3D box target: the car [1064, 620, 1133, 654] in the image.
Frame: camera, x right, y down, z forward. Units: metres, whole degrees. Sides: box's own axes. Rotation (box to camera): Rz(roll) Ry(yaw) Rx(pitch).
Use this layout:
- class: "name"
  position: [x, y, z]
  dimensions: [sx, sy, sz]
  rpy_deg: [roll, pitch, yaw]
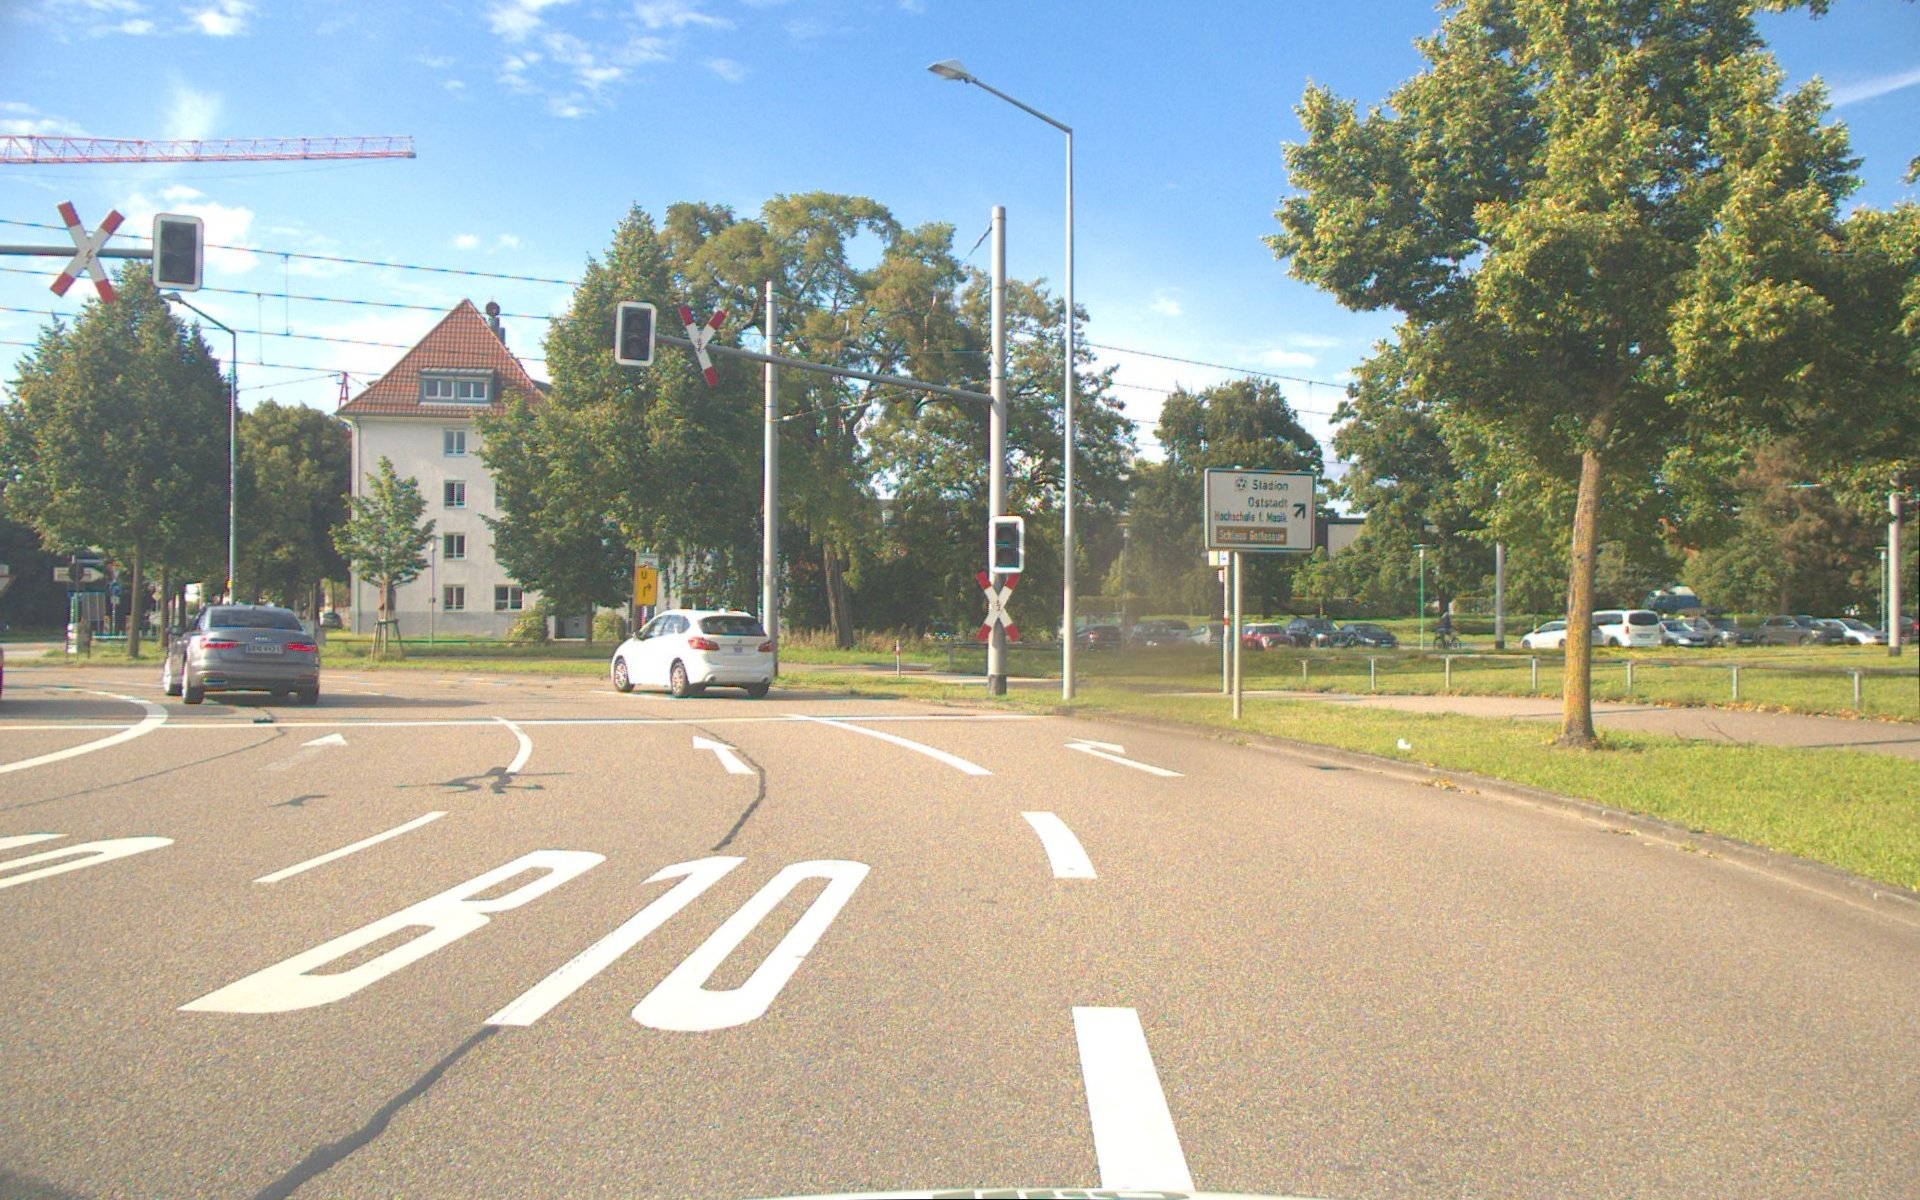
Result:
- class: "car"
  position: [5.806, 1.547, 70.061]
  dimensions: [1.821, 1.383, 4.722]
  rpy_deg: [0, -1, -9]

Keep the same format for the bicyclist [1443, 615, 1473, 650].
- class: "bicyclist"
  position: [19.751, 1.269, 65.616]
  dimensions: [0.997, 1.379, 0.703]
  rpy_deg: [0, -1, -41]

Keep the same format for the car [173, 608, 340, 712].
- class: "car"
  position: [-11.002, 0.895, 25.678]
  dimensions: [1.831, 1.470, 4.667]
  rpy_deg: [2, -2, -30]

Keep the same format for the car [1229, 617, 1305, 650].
- class: "car"
  position: [13.294, 1.457, 71.874]
  dimensions: [1.821, 1.386, 4.459]
  rpy_deg: [0, -1, -9]

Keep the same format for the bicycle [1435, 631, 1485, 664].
- class: "bicycle"
  position: [19.858, 1.874, 65.653]
  dimensions: [2.506, 1.244, 0.703]
  rpy_deg: [0, -1, -42]

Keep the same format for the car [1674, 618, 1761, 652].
- class: "car"
  position: [34.787, 1.592, 76.052]
  dimensions: [1.989, 1.542, 4.110]
  rpy_deg: [0, -1, -2]

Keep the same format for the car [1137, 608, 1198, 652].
- class: "car"
  position: [10.412, 1.536, 83.328]
  dimensions: [1.836, 2.049, 4.802]
  rpy_deg: [2, -2, -7]

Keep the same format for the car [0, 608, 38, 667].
- class: "car"
  position: [-25.957, 0.913, 41.845]
  dimensions: [4.345, 1.451, 1.858]
  rpy_deg: [1, -2, 9]

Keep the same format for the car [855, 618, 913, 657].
- class: "car"
  position: [-3.175, 1.520, 68.109]
  dimensions: [1.821, 1.542, 4.722]
  rpy_deg: [0, -1, -9]

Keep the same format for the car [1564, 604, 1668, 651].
- class: "car"
  position: [29.694, 1.260, 75.057]
  dimensions: [2.265, 2.042, 5.105]
  rpy_deg: [0, -1, -6]

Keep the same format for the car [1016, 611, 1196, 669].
- class: "car"
  position: [3.866, 1.082, 44.371]
  dimensions: [4.555, 1.456, 1.900]
  rpy_deg: [1, -2, -5]

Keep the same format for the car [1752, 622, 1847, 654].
- class: "car"
  position: [39.013, 1.746, 77.009]
  dimensions: [1.819, 1.423, 4.463]
  rpy_deg: [0, -1, -6]

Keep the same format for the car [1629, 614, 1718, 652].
- class: "car"
  position: [32.631, 1.507, 75.801]
  dimensions: [2.054, 1.703, 4.467]
  rpy_deg: [0, -1, -2]

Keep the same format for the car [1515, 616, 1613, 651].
- class: "car"
  position: [27.064, 1.488, 74.256]
  dimensions: [1.826, 1.542, 4.447]
  rpy_deg: [0, -1, -17]

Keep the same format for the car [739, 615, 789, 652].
- class: "car"
  position: [-8.096, 1.366, 68.051]
  dimensions: [1.821, 1.465, 4.722]
  rpy_deg: [0, -1, -9]

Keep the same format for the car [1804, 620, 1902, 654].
- class: "car"
  position: [41.685, 1.708, 77.286]
  dimensions: [1.819, 1.531, 4.463]
  rpy_deg: [0, -1, -6]

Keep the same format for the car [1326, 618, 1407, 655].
- class: "car"
  position: [17.848, 1.598, 72.802]
  dimensions: [1.821, 1.542, 4.459]
  rpy_deg: [0, -1, -9]

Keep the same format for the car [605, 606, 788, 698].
- class: "car"
  position: [-5.058, 0.954, 31.241]
  dimensions: [1.833, 1.600, 4.405]
  rpy_deg: [2, -2, -32]

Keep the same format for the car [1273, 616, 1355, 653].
- class: "car"
  position: [15.383, 1.475, 72.089]
  dimensions: [1.821, 1.542, 4.933]
  rpy_deg: [0, -1, -9]

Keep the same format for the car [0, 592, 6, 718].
- class: "car"
  position: [-13.882, 0.699, 22.133]
  dimensions: [1.751, 1.600, 4.022]
  rpy_deg: [2, -2, -32]

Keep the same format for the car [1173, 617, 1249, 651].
- class: "car"
  position: [10.809, 1.455, 71.529]
  dimensions: [1.821, 1.382, 4.822]
  rpy_deg: [0, -1, -9]
